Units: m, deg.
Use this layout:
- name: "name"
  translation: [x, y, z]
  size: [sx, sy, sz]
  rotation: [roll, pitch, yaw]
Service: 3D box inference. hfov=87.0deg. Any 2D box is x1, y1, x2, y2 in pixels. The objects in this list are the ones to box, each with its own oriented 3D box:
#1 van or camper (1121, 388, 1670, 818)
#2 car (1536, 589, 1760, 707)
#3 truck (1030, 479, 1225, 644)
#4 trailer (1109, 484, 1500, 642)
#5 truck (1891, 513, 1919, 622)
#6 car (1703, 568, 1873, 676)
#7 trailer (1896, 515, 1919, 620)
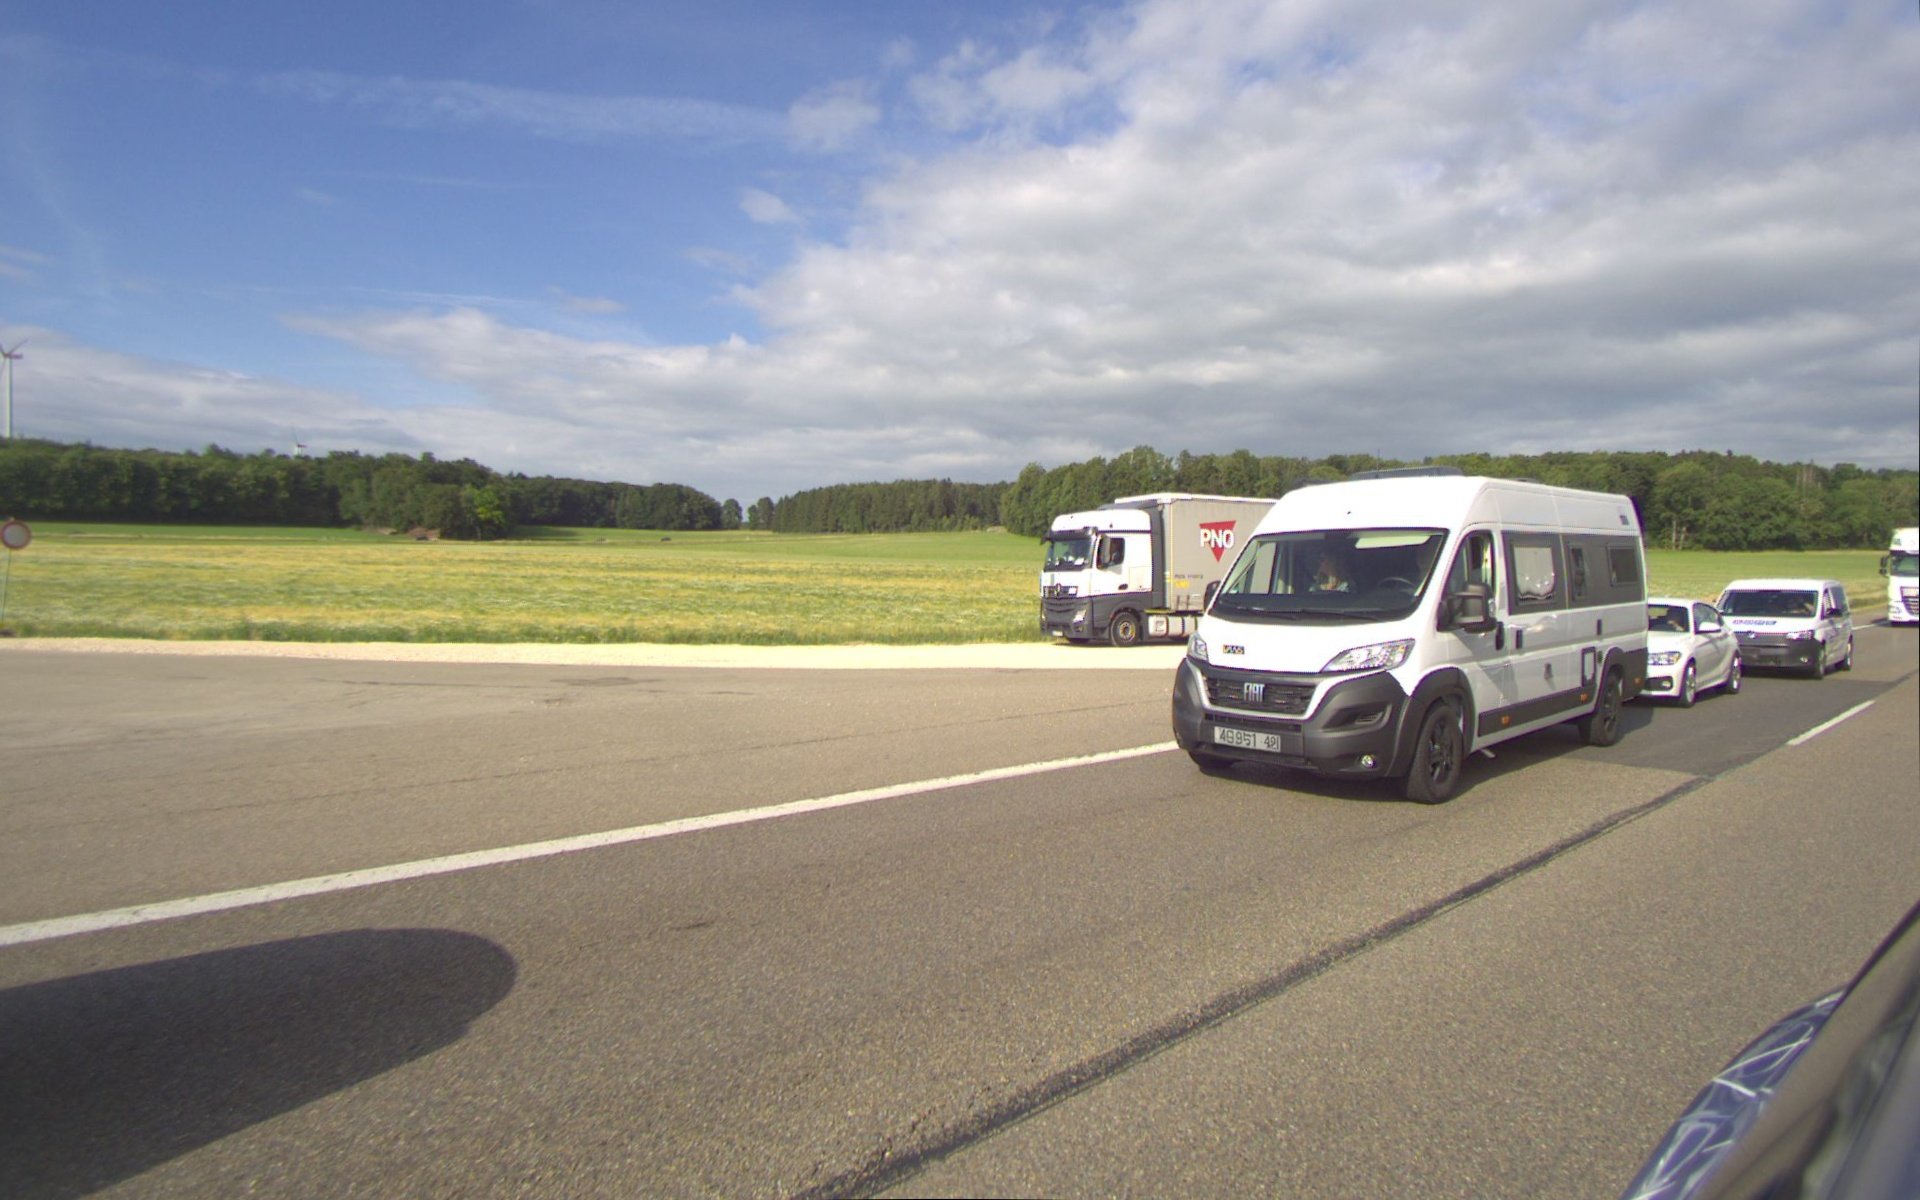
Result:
- name: "van or camper"
  translation: [4.336, -0.034, 9.304]
  size: [6.223, 2.714, 2.218]
  rotation: [-1, 1, -42]
- name: "car"
  translation: [9.937, 0.565, 14.500]
  size: [4.159, 1.450, 1.706]
  rotation: [-1, 1, -42]
- name: "truck"
  translation: [4.631, -1.003, 28.082]
  size: [4.663, 4.226, 2.726]
  rotation: [0, 0, -27]
- name: "trailer"
  translation: [11.001, -1.032, 31.286]
  size: [13.545, 4.213, 2.748]
  rotation: [0, 0, -27]
- name: "truck"
  translation: [39.815, -1.324, 40.890]
  size: [5.669, 4.226, 2.733]
  rotation: [-1, 1, -42]
- name: "car"
  translation: [15.546, 0.347, 18.913]
  size: [4.621, 1.779, 1.727]
  rotation: [-1, 0, -41]
- name: "trailer"
  translation: [44.105, -1.448, 44.791]
  size: [13.781, 4.212, 2.739]
  rotation: [-2, 1, -42]
